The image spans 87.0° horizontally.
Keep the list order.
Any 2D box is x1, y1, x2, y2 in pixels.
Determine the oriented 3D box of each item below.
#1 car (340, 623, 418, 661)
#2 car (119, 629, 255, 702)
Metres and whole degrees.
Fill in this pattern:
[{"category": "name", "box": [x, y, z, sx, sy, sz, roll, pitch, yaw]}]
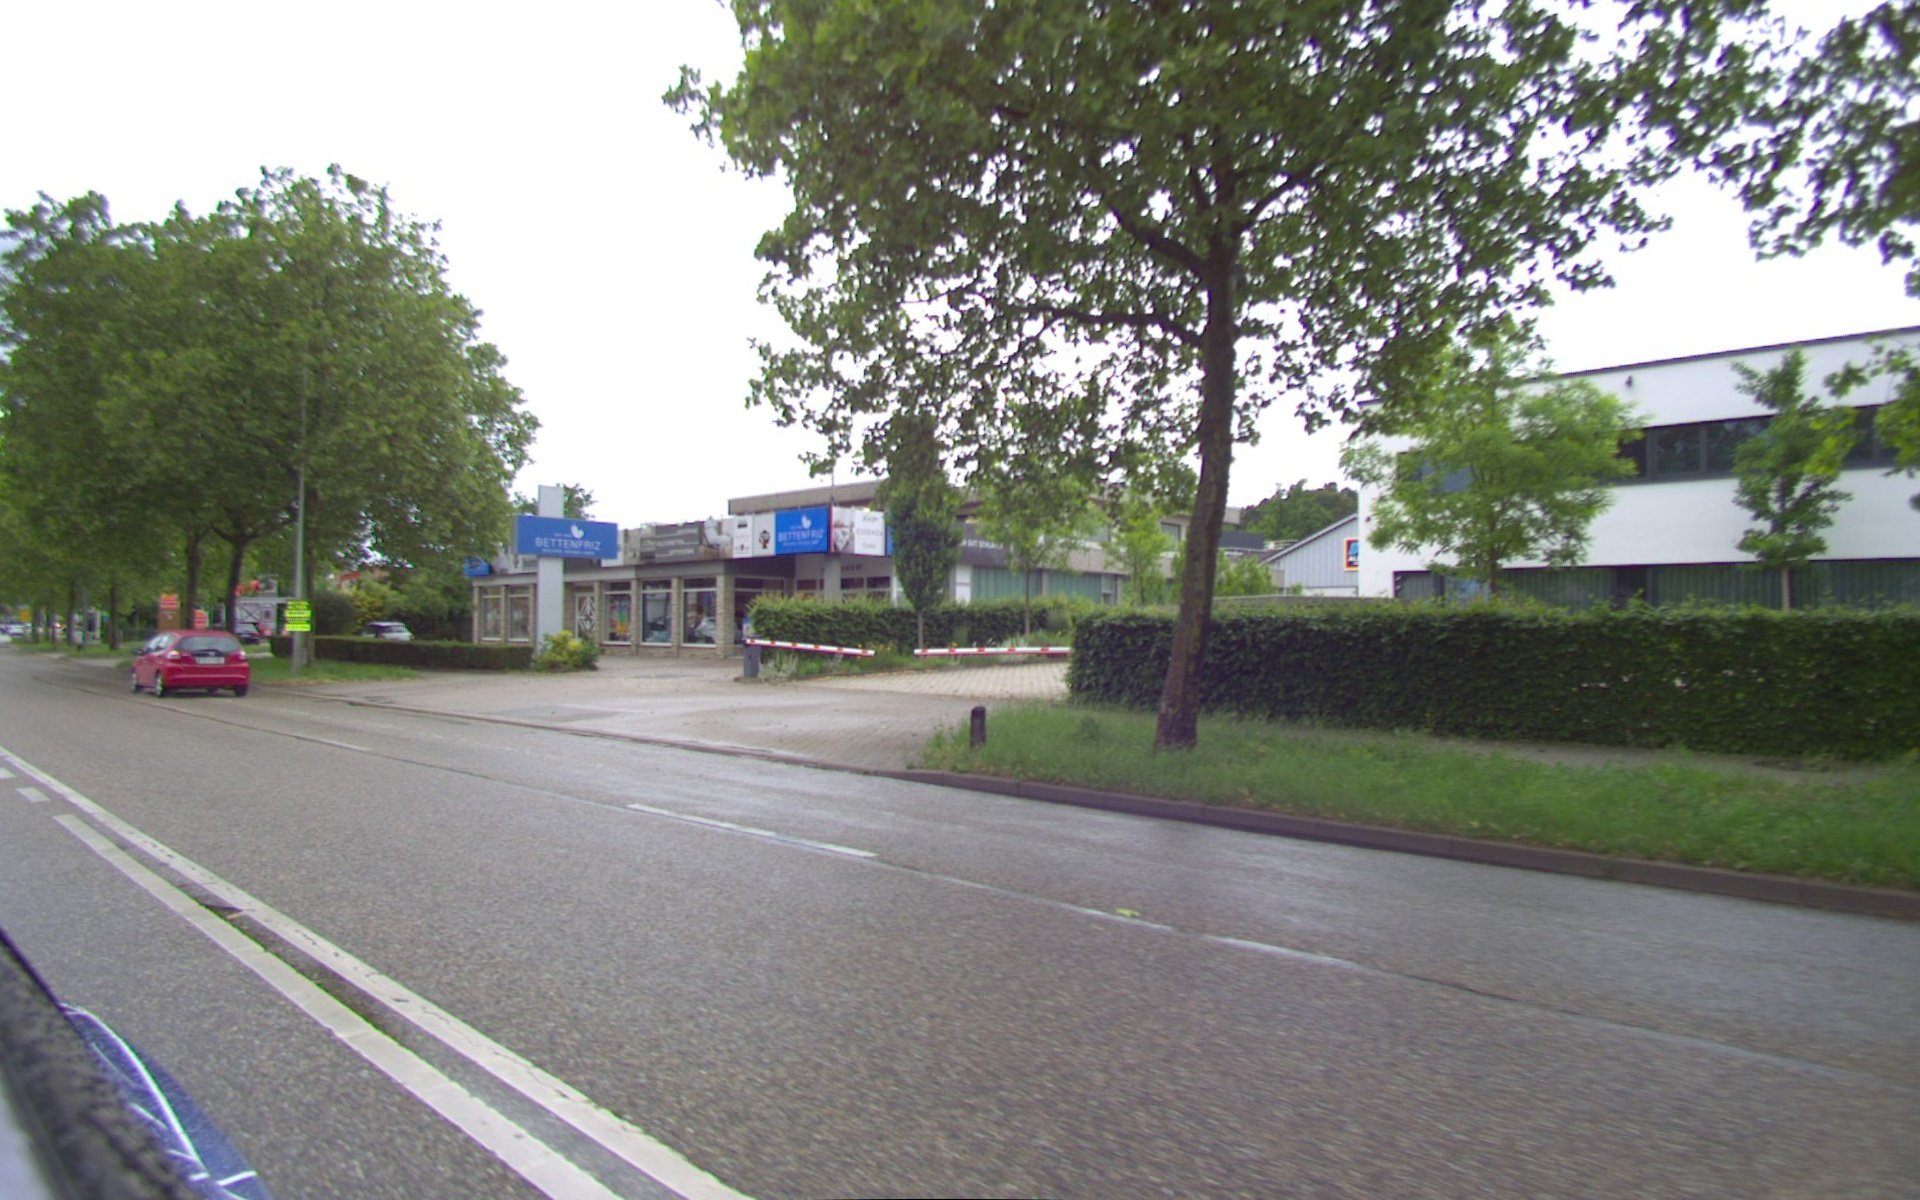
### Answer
[{"category": "car", "box": [-25.032, 1.791, 43.554, 3.999, 1.545, 1.723, -1, -4, 42]}, {"category": "car", "box": [-18.229, 1.498, 23.815, 3.998, 1.545, 1.723, -1, -4, 41]}]
